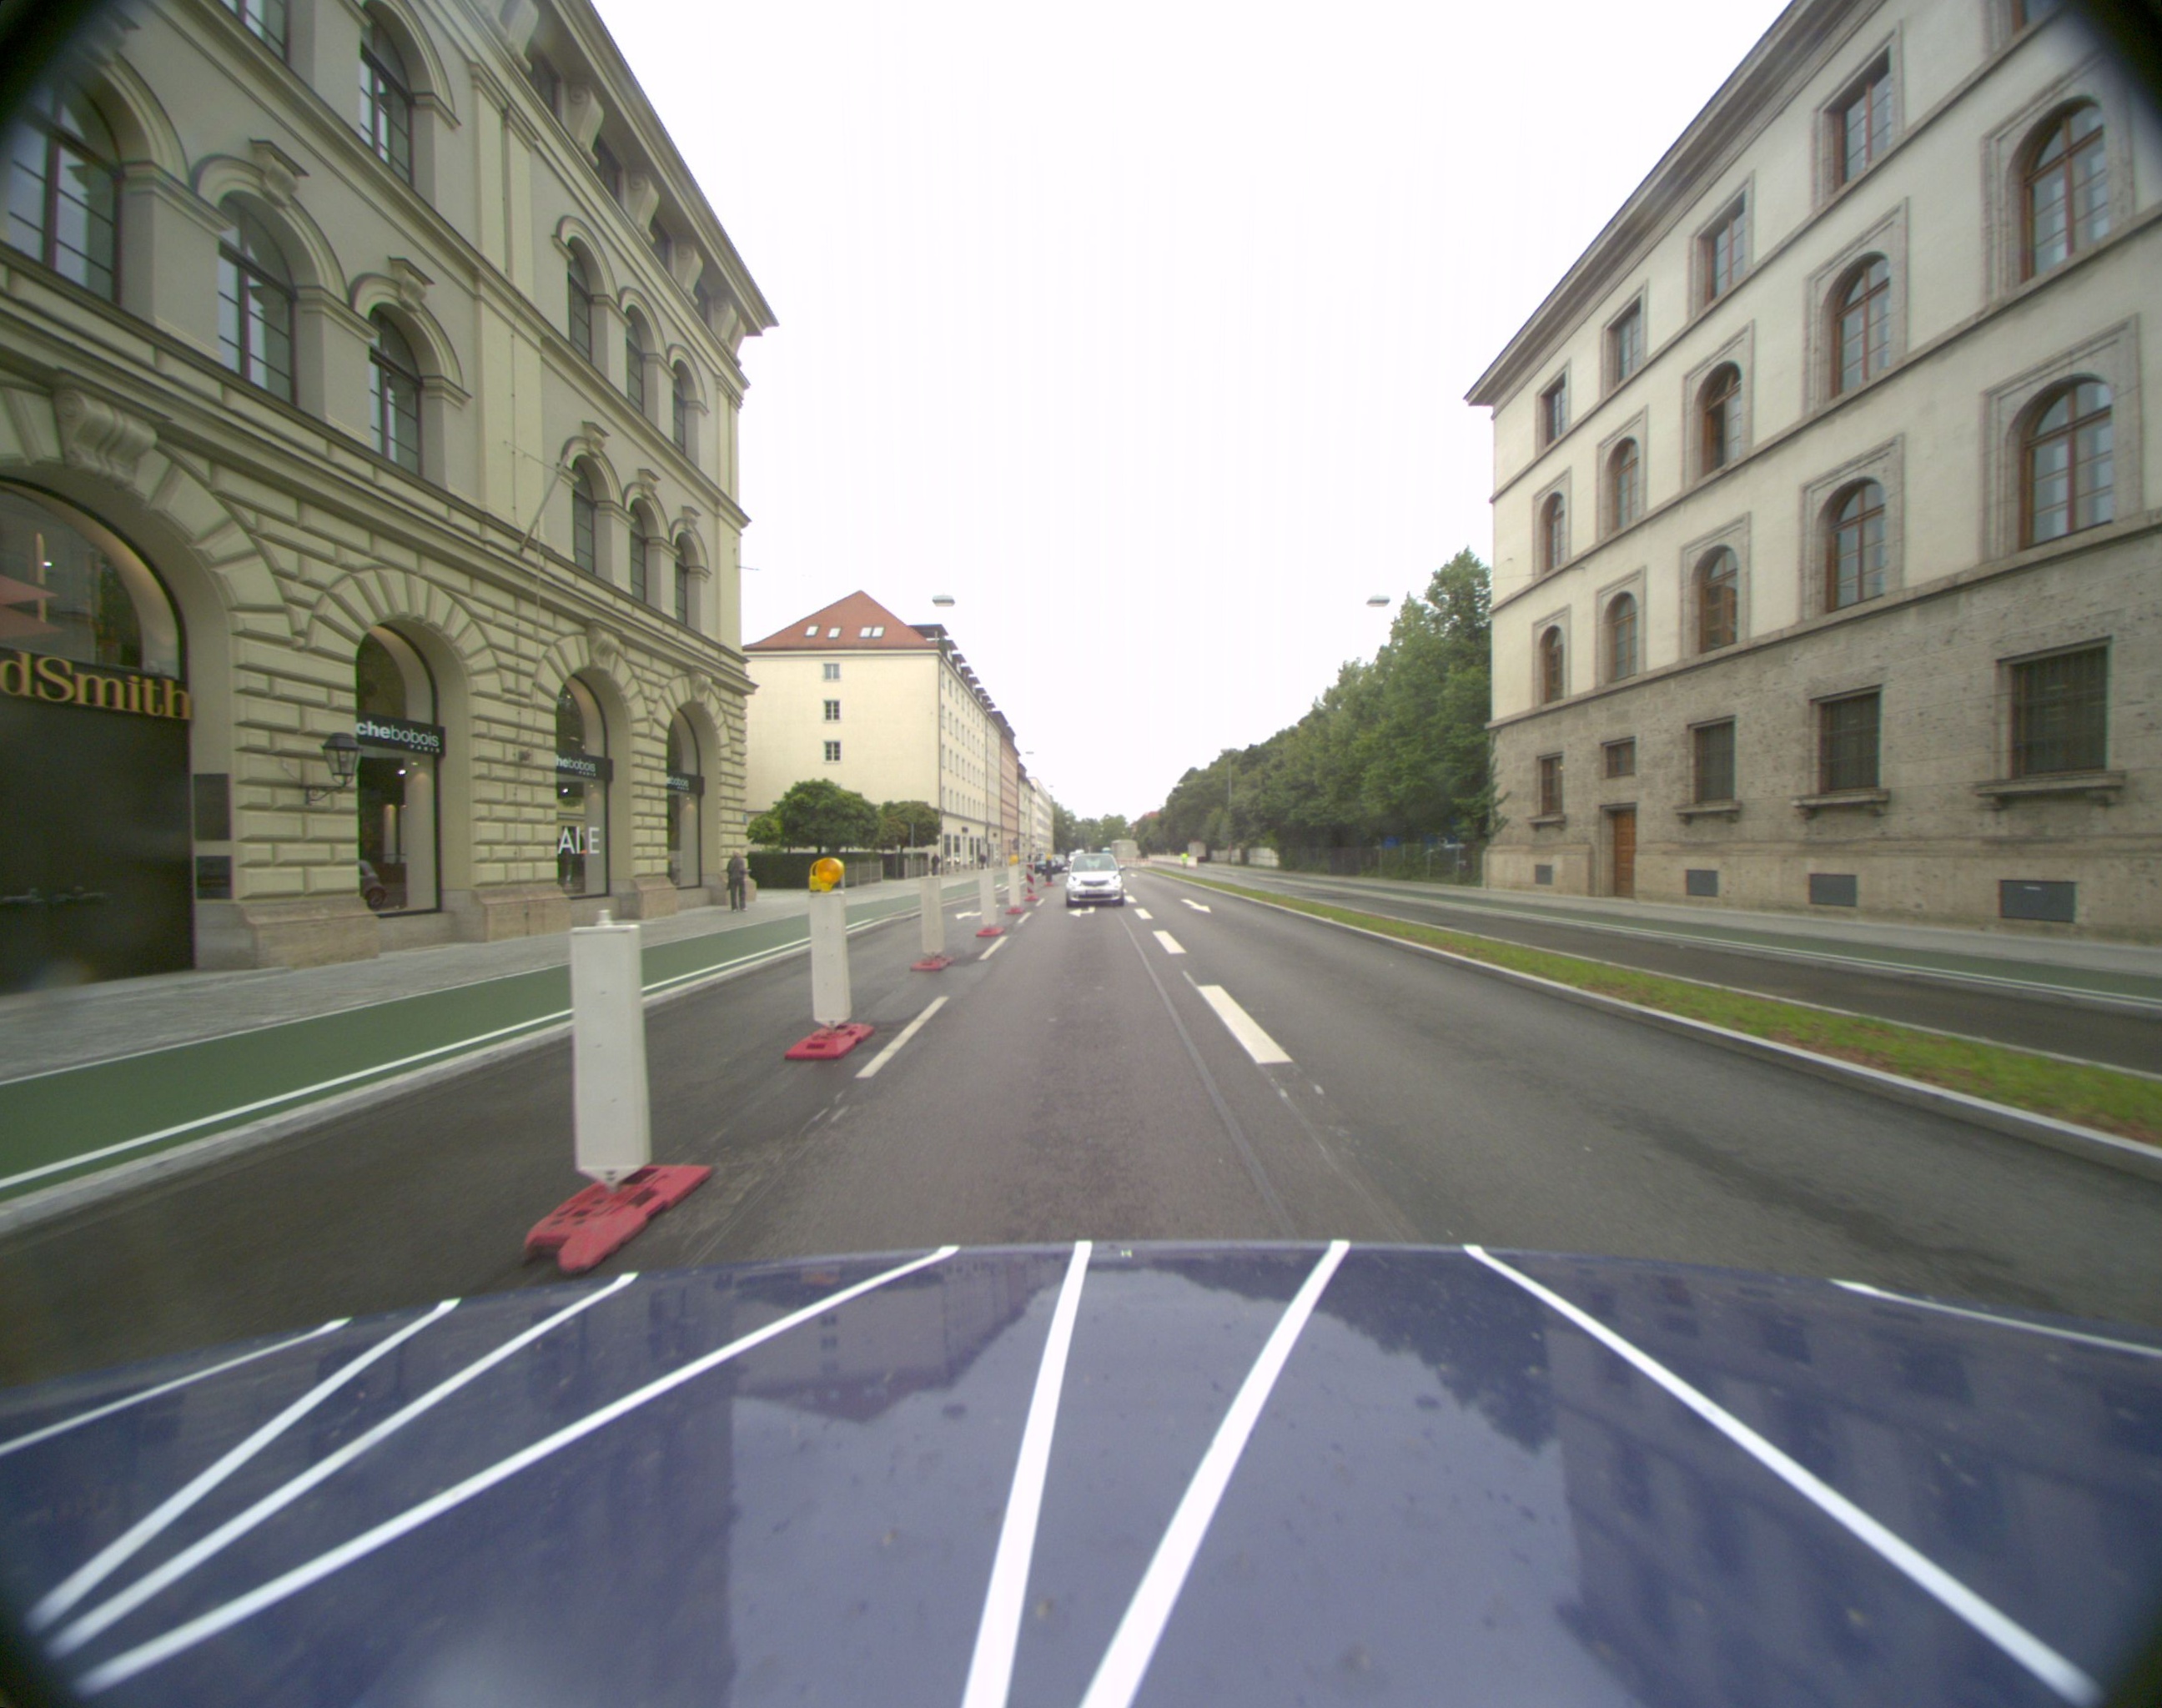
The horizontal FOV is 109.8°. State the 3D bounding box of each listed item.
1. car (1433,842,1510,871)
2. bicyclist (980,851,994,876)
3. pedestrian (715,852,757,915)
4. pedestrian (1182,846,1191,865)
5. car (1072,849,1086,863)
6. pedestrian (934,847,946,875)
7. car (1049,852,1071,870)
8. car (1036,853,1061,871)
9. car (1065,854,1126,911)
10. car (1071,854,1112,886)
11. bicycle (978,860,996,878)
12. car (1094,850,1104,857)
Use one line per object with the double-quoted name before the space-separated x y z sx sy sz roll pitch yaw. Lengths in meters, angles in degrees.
"car" 25.369 0.144 49.493 4.036 1.700 1.875 -2 3 5
"bicyclist" -5.879 0.567 47.426 0.724 1.543 0.858 -2 1 0
"pedestrian" -9.435 0.782 20.834 0.634 1.694 1.085 0 1 0
"pedestrian" 11.021 0.124 79.541 0.757 2.002 0.867 -2 1 1
"car" -0.274 0.229 113.377 1.998 2.002 4.000 0 1 1
"pedestrian" -9.518 0.483 51.365 0.655 1.863 0.826 1 1 1
"car" -1.780 0.610 65.451 1.739 1.425 4.000 -1 0 1
"car" -2.518 0.611 60.190 1.739 1.313 4.000 -1 0 1
"car" 0.424 0.783 22.743 1.633 1.494 4.000 -1 0 1
"car" 0.522 0.767 38.299 1.922 1.433 4.306 -3 0 1
"bicycle" -5.867 0.921 47.559 0.751 1.026 2.531 -2 0 1
"car" 3.578 -0.083 151.083 1.739 1.425 4.000 -1 0 1
